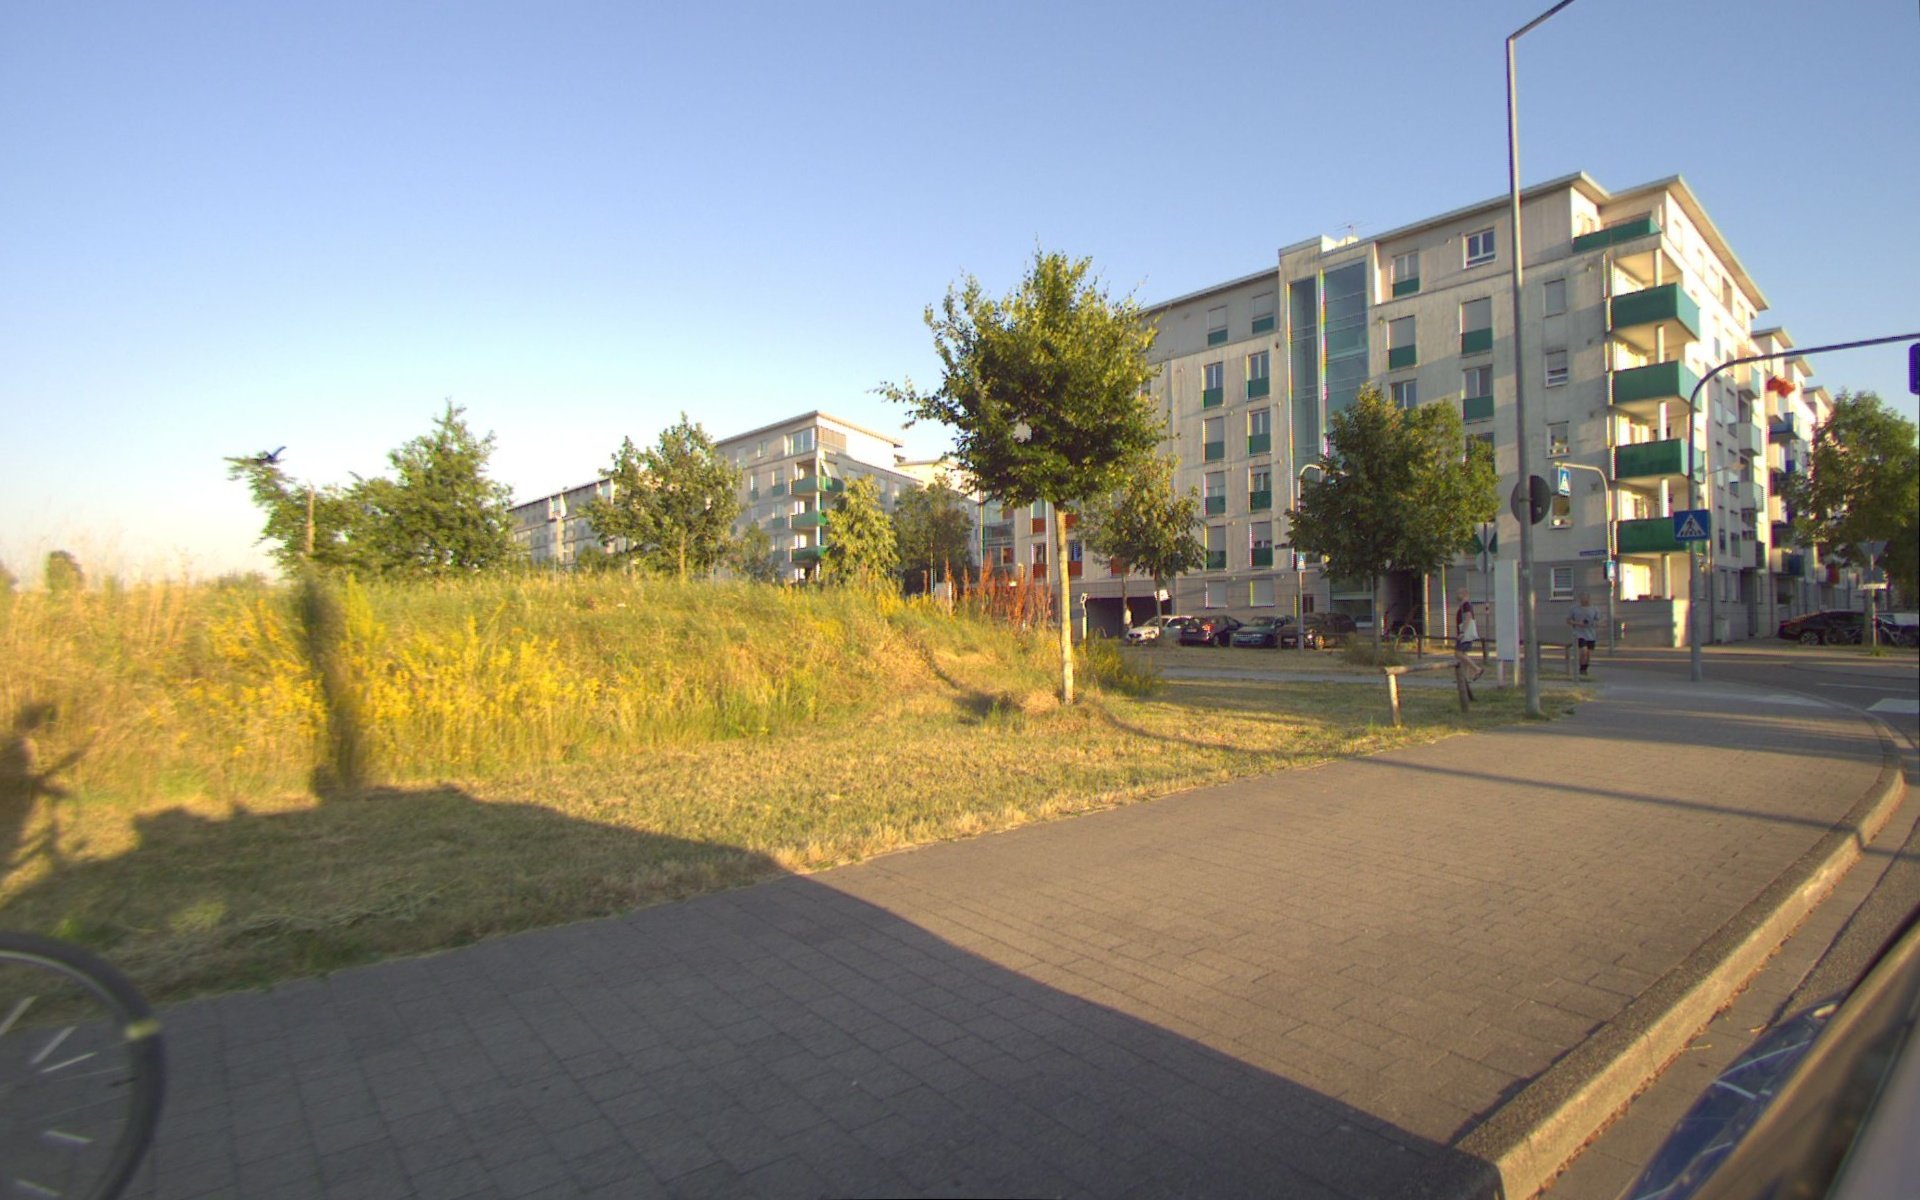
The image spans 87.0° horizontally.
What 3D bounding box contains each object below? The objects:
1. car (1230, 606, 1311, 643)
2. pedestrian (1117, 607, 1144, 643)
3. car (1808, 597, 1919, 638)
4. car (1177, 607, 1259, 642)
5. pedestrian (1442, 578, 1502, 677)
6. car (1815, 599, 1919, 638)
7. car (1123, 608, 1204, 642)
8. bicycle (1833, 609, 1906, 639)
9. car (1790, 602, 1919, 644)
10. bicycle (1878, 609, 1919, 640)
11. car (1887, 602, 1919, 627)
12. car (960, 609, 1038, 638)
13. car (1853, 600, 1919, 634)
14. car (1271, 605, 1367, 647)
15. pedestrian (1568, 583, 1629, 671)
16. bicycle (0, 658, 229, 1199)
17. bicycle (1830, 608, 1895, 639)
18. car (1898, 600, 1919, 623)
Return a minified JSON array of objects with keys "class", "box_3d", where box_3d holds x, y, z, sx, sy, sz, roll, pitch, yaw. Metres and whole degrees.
[{"class":"car","box_3d":[13.584,1.034,44.125,3.939,1.391,1.556,-3,0,-42]},{"class":"pedestrian","box_3d":[9.126,1.330,54.330,0.962,1.919,1.048,2,-3,-40]},{"class":"car","box_3d":[37.875,0.721,41.559,1.711,1.527,4.411,1,1,-40]},{"class":"car","box_3d":[11.761,1.126,45.973,3.986,1.499,1.697,1,-2,-42]},{"class":"pedestrian","box_3d":[9.612,0.513,18.999,0.788,1.807,0.732,2,-3,-43]},{"class":"car","box_3d":[39.553,0.785,43.357,1.713,1.512,4.286,1,1,-44]},{"class":"car","box_3d":[9.599,1.179,47.637,3.986,1.499,1.697,1,-2,-42]},{"class":"bicycle","box_3d":[34.421,0.892,38.334,2.028,1.059,0.466,2,0,43]},{"class":"car","box_3d":[35.962,0.909,39.779,1.904,1.476,4.883,1,1,-41]},{"class":"bicycle","box_3d":[34.965,0.918,37.158,1.834,1.085,0.466,2,0,43]},{"class":"car","box_3d":[62.576,0.968,65.033,1.663,1.556,4.247,1,1,-42]},{"class":"car","box_3d":[2.228,1.329,57.232,4.387,1.541,1.698,1,-2,-40]},{"class":"car","box_3d":[45.254,0.834,48.017,4.283,1.527,1.659,2,1,44]},{"class":"car","box_3d":[14.852,1.039,41.761,4.406,1.506,1.829,-3,0,-42]},{"class":"pedestrian","box_3d":[13.003,0.550,20.626,0.753,1.752,0.801,1,-3,-36]},{"class":"bicycle","box_3d":[-2.274,0.704,1.486,1.906,1.184,0.451,1,-3,-39]},{"class":"bicycle","box_3d":[33.593,0.865,37.702,1.787,1.055,0.558,2,0,43]},{"class":"car","box_3d":[66.832,0.852,68.847,1.663,1.556,4.247,1,1,-42]}]
